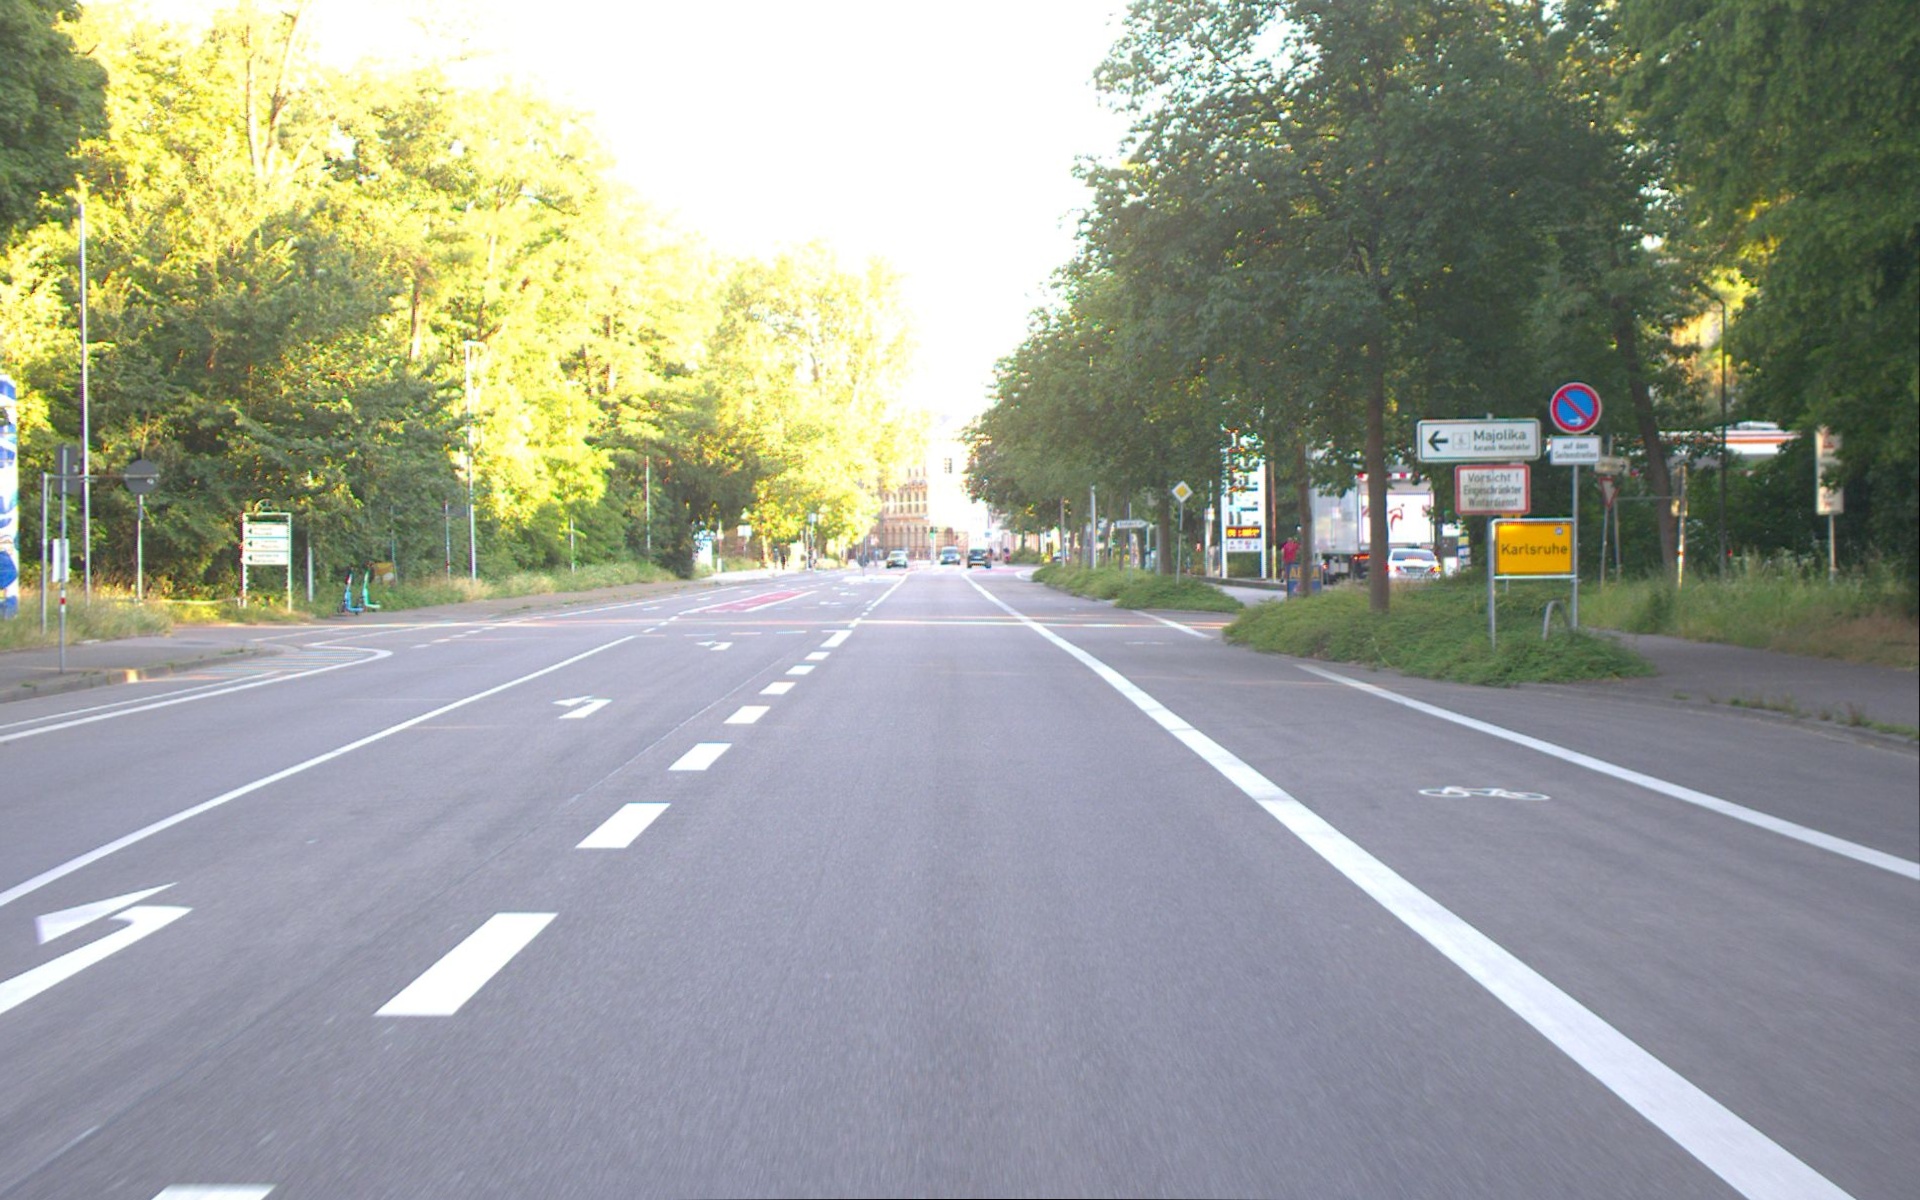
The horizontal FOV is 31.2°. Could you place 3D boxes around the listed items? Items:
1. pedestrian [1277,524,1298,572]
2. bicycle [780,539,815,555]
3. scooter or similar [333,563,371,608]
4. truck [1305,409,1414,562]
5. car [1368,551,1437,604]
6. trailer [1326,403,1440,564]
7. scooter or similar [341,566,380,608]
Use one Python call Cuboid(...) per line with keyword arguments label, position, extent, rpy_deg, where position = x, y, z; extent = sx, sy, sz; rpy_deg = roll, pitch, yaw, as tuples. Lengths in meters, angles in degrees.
Cuboid(label="pedestrian", position=(12.421, -1.969, 130.321), extent=(0.757, 1.791, 0.706), rpy_deg=(1, 1, 3))
Cuboid(label="bicycle", position=(-12.201, -3.993, 258.325), extent=(2.463, 1.191, 0.757), rpy_deg=(0, 0, 10))
Cuboid(label="scooter or similar", position=(-15.216, -0.361, 86.022), extent=(0.361, 1.106, 0.877), rpy_deg=(0, 1, 42))
Cuboid(label="truck", position=(14.746, -4.183, 127.358), extent=(3.033, 5.437, 8.410), rpy_deg=(0, 1, 0))
Cuboid(label="car", position=(13.836, -0.726, 107.738), extent=(1.770, 1.578, 4.818), rpy_deg=(1, 1, 3))
Cuboid(label="trailer", position=(14.718, -4.014, 120.175), extent=(3.020, 5.443, 7.935), rpy_deg=(0, 1, 0))
Cuboid(label="scooter or similar", position=(-15.557, -0.341, 89.173), extent=(0.897, 1.065, 0.496), rpy_deg=(-1, 1, -25))
